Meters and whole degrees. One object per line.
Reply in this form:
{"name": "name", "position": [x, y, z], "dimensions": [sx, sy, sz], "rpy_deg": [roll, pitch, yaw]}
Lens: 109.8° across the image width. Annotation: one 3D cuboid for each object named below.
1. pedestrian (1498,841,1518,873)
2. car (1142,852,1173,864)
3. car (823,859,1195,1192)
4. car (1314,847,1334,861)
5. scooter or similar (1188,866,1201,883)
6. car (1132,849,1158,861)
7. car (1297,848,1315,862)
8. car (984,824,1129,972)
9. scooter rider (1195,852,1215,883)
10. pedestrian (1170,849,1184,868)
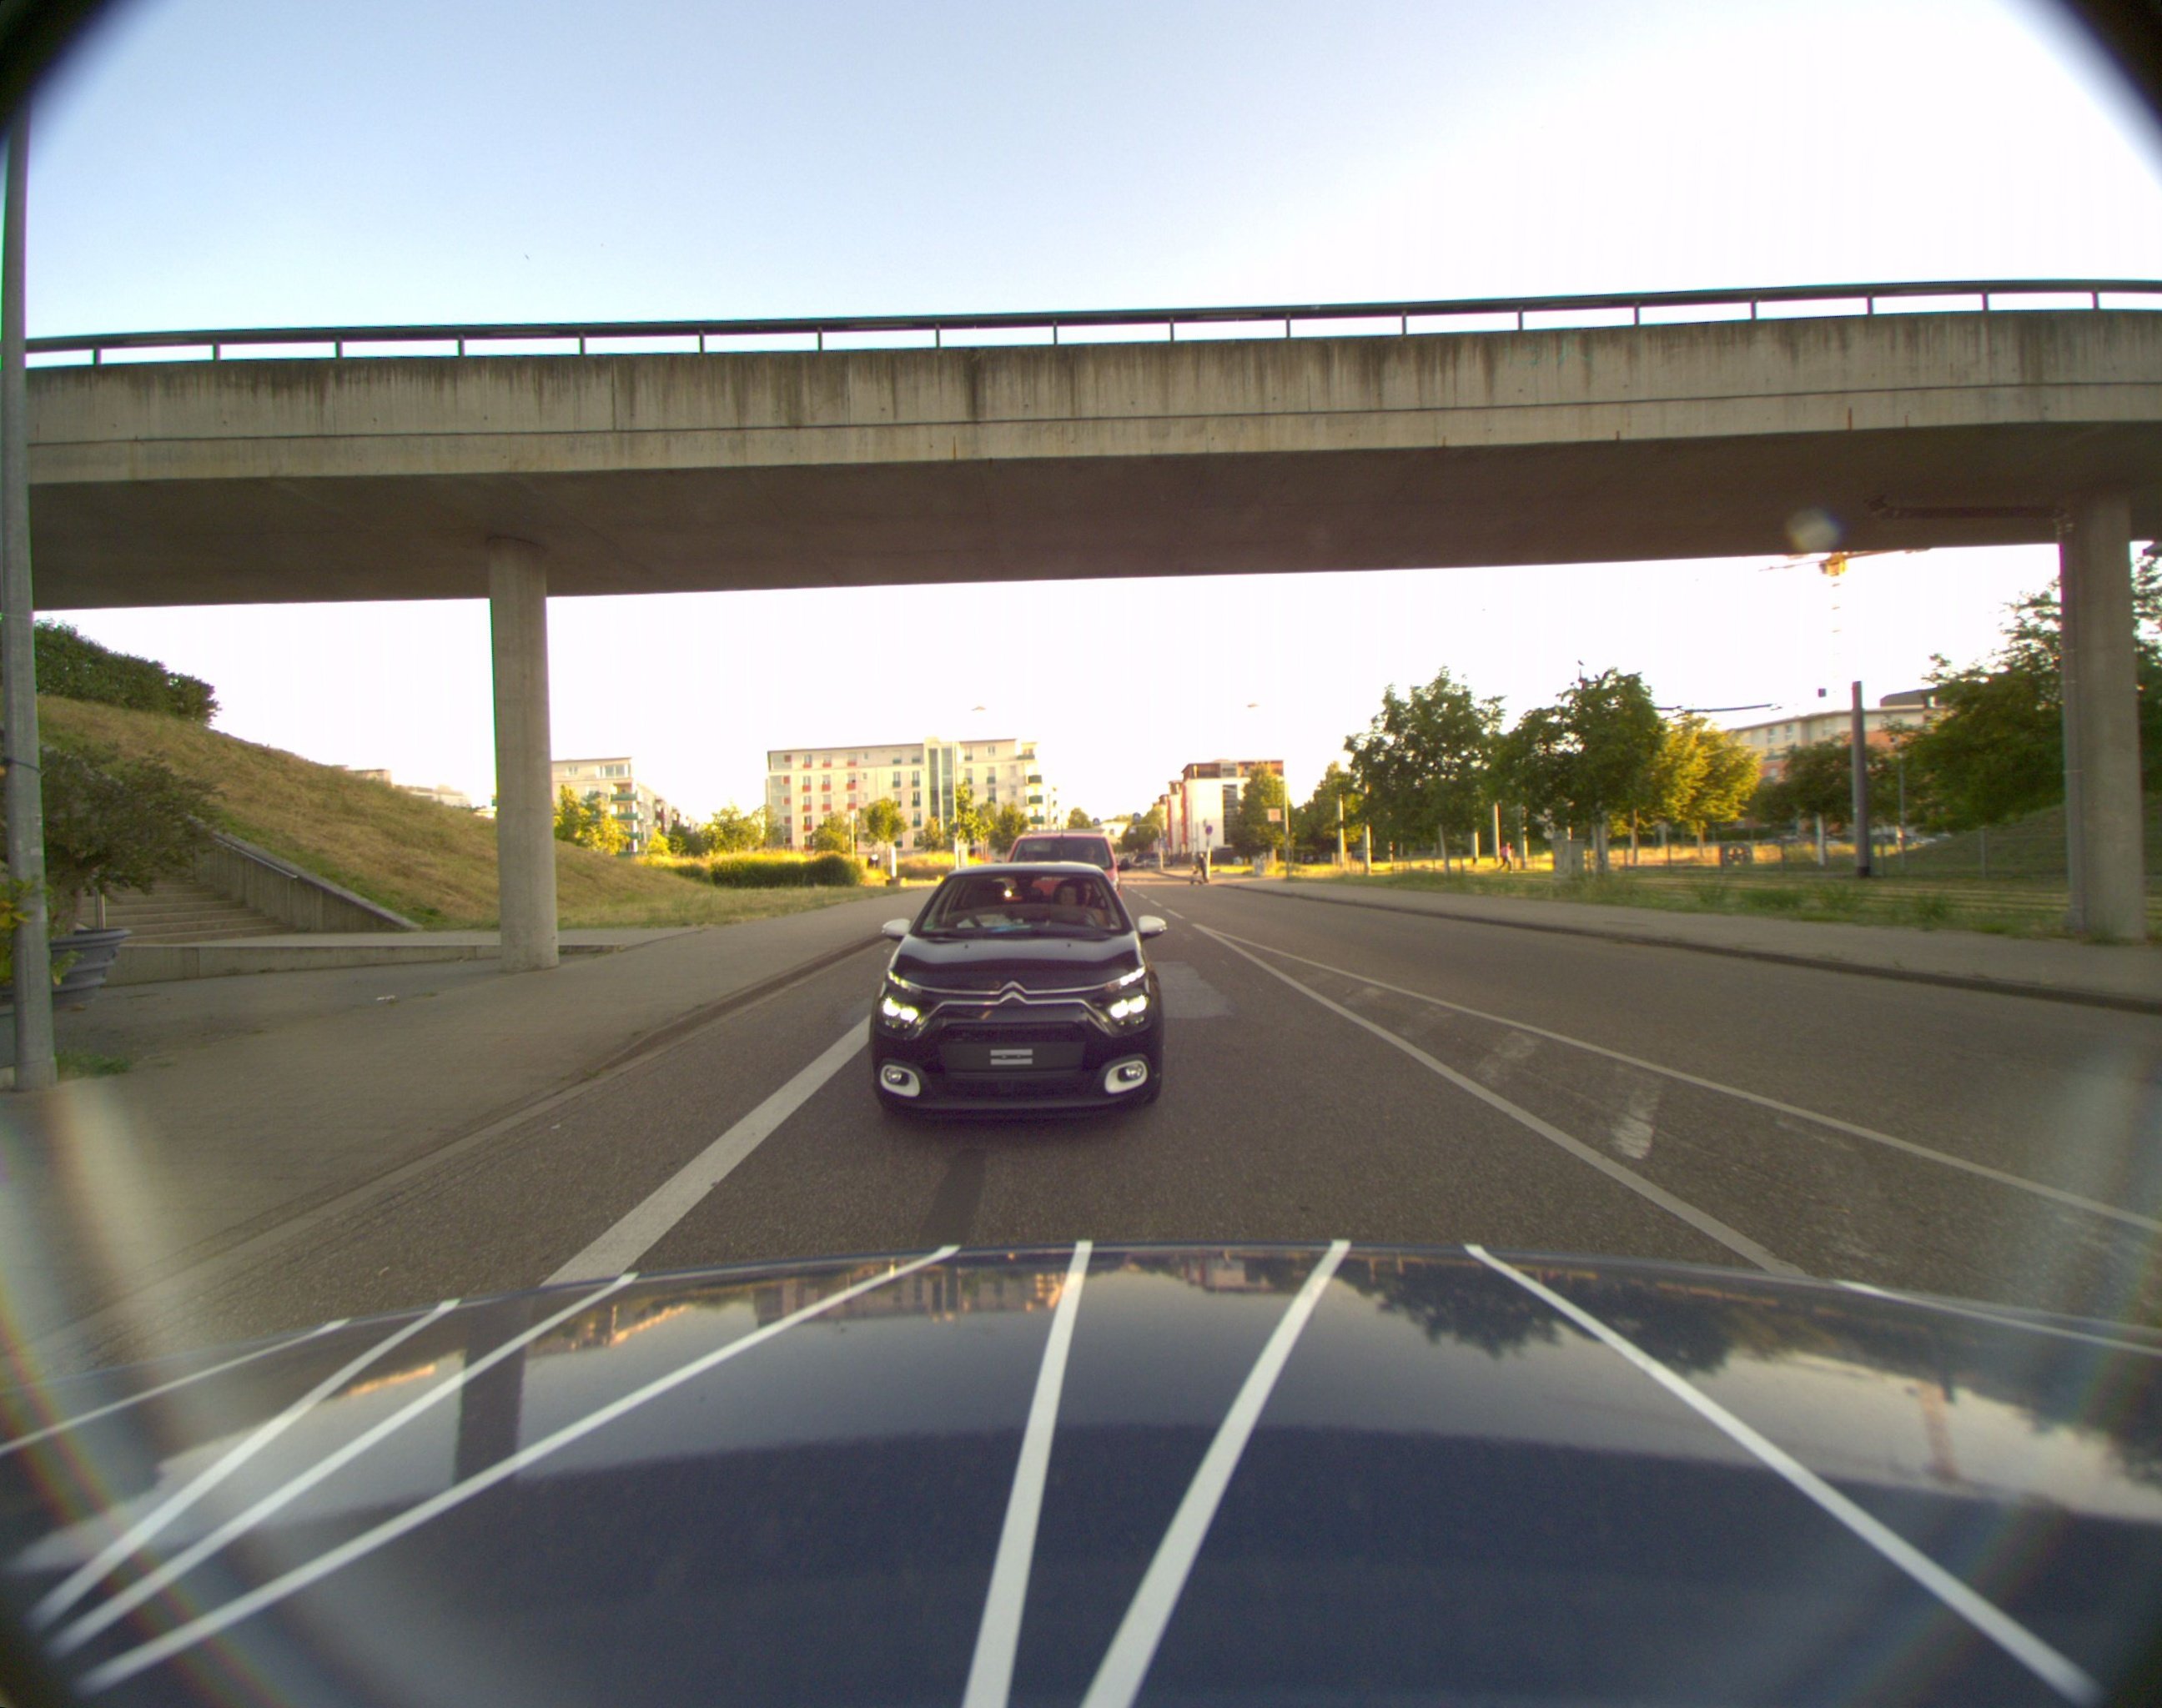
{"name": "pedestrian", "position": [22.312, 0.157, 39.713], "dimensions": [0.779, 1.602, 0.417], "rpy_deg": [-2, 0, 12]}
{"name": "car", "position": [11.457, 0.635, 114.015], "dimensions": [4.387, 1.550, 1.839], "rpy_deg": [-2, 1, 2]}
{"name": "car", "position": [-0.397, 0.846, 5.744], "dimensions": [1.760, 1.543, 4.071], "rpy_deg": [-2, 0, -2]}
{"name": "car", "position": [30.990, 0.027, 96.875], "dimensions": [1.869, 1.710, 3.847], "rpy_deg": [-2, 0, 9]}
{"name": "scooter or similar", "position": [5.985, 1.084, 40.078], "dimensions": [0.553, 0.890, 0.722], "rpy_deg": [-1, 1, 3]}
{"name": "car", "position": [12.108, 0.229, 144.195], "dimensions": [4.745, 2.002, 1.999], "rpy_deg": [-2, 1, -2]}
{"name": "car", "position": [28.782, 0.114, 97.207], "dimensions": [1.869, 1.710, 3.848], "rpy_deg": [-2, 0, 12]}
{"name": "car", "position": [-0.365, 0.617, 13.029], "dimensions": [1.931, 1.979, 4.822], "rpy_deg": [-3, 0, -1]}
{"name": "scooter rider", "position": [6.544, 0.698, 40.034], "dimensions": [0.898, 1.568, 0.712], "rpy_deg": [-2, 0, 2]}
{"name": "pedestrian", "position": [10.568, 0.536, 83.307], "dimensions": [1.088, 2.002, 1.141], "rpy_deg": [-2, 1, 29]}
